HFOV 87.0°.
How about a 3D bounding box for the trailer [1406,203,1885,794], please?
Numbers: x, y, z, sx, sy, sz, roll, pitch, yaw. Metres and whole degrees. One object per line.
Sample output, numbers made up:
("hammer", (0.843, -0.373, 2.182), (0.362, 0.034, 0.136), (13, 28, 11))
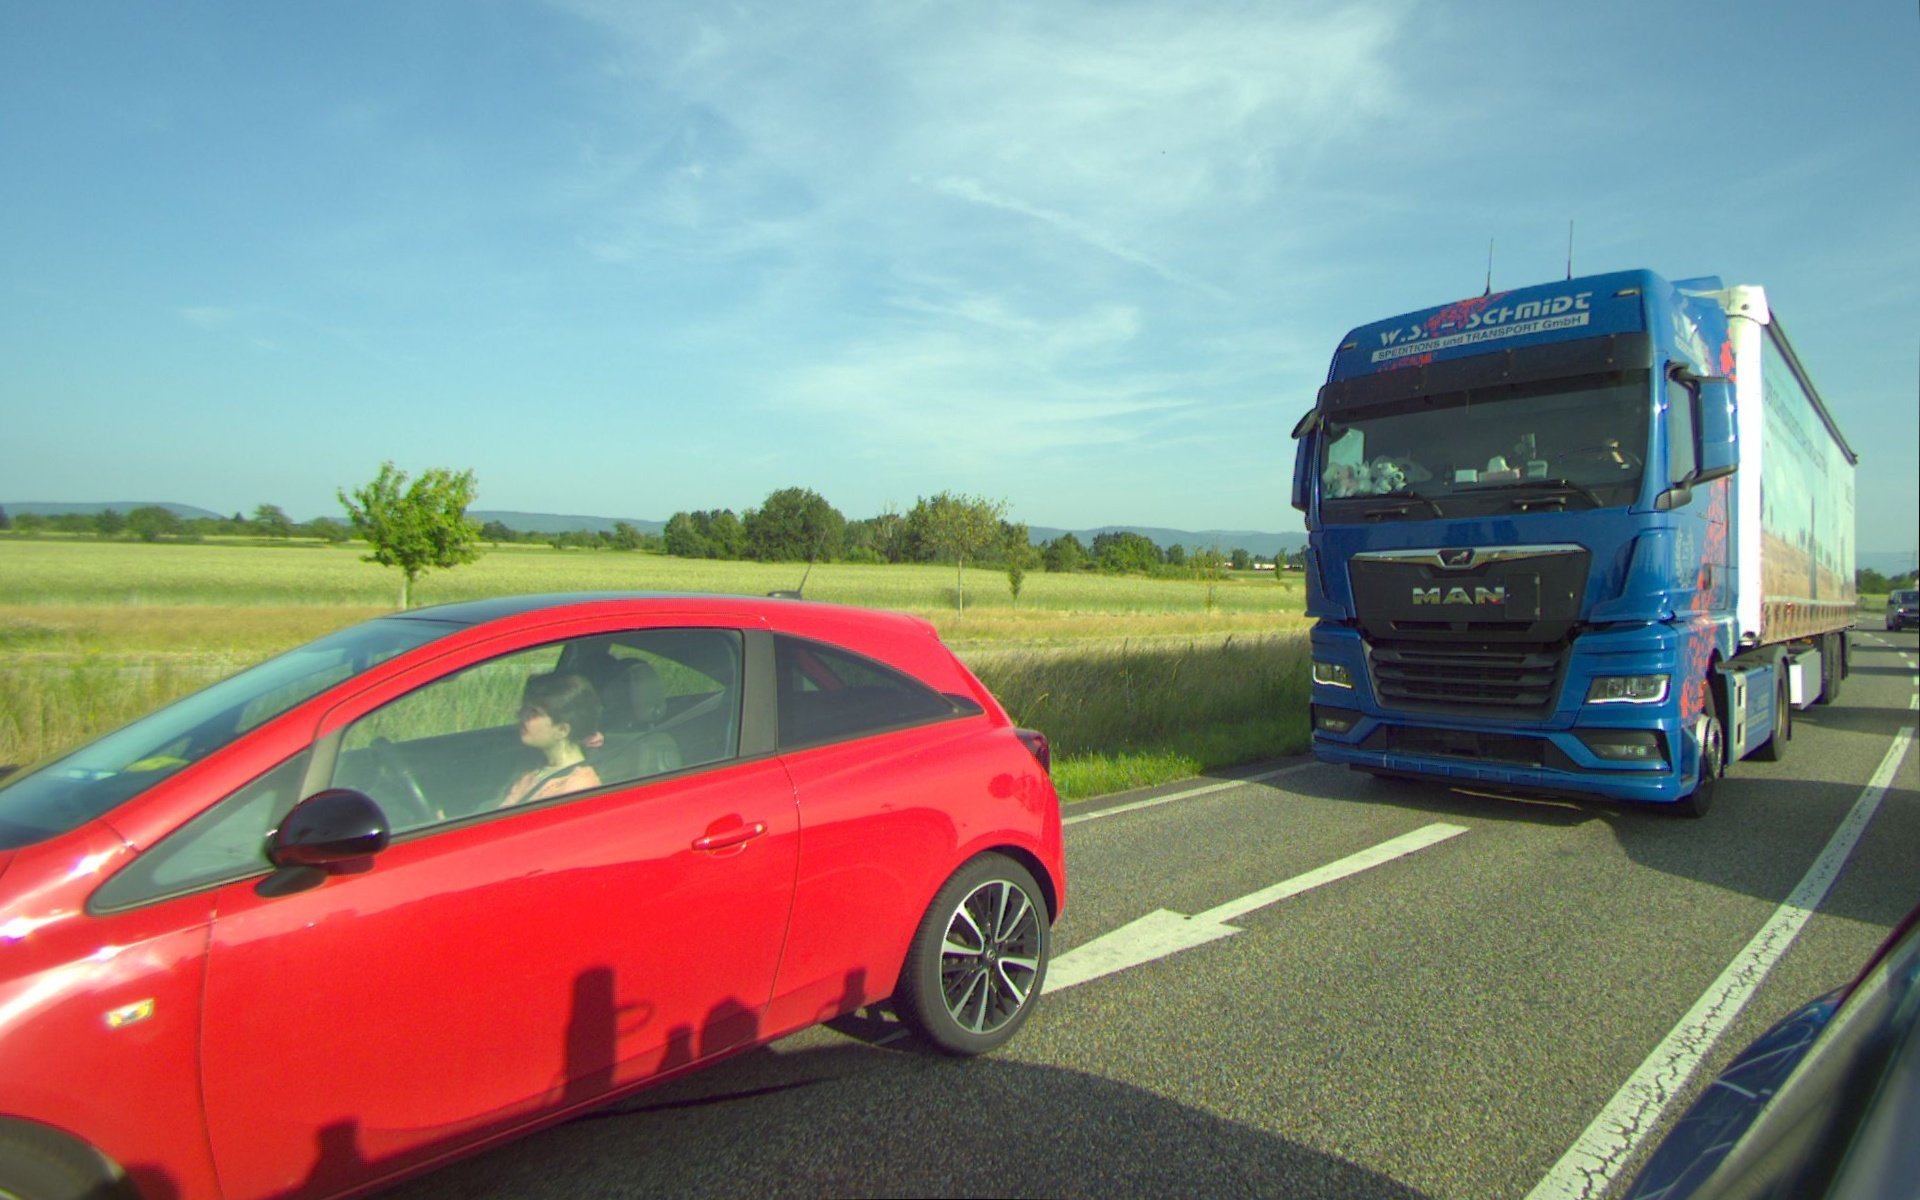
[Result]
("trailer", (10.262, -0.941, 13.936), (3.282, 4.739, 12.939), (0, 1, 44))

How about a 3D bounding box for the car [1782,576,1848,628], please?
("car", (35.656, 0.055, 42.259), (1.991, 2.039, 3.942), (1, 1, 40))

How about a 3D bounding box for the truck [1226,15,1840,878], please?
("truck", (5.199, -0.883, 8.729), (3.301, 4.716, 5.640), (0, 1, 44))

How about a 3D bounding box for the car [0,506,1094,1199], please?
("car", (-1.441, 0.608, 2.871), (3.689, 1.568, 1.698), (0, 2, -44))

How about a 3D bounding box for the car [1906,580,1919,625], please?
("car", (42.739, 0.115, 44.408), (1.551, 1.944, 3.977), (2, 1, 40))

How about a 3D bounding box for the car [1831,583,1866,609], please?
("car", (70.926, -0.334, 80.829), (1.991, 2.039, 3.942), (1, 1, 40))
